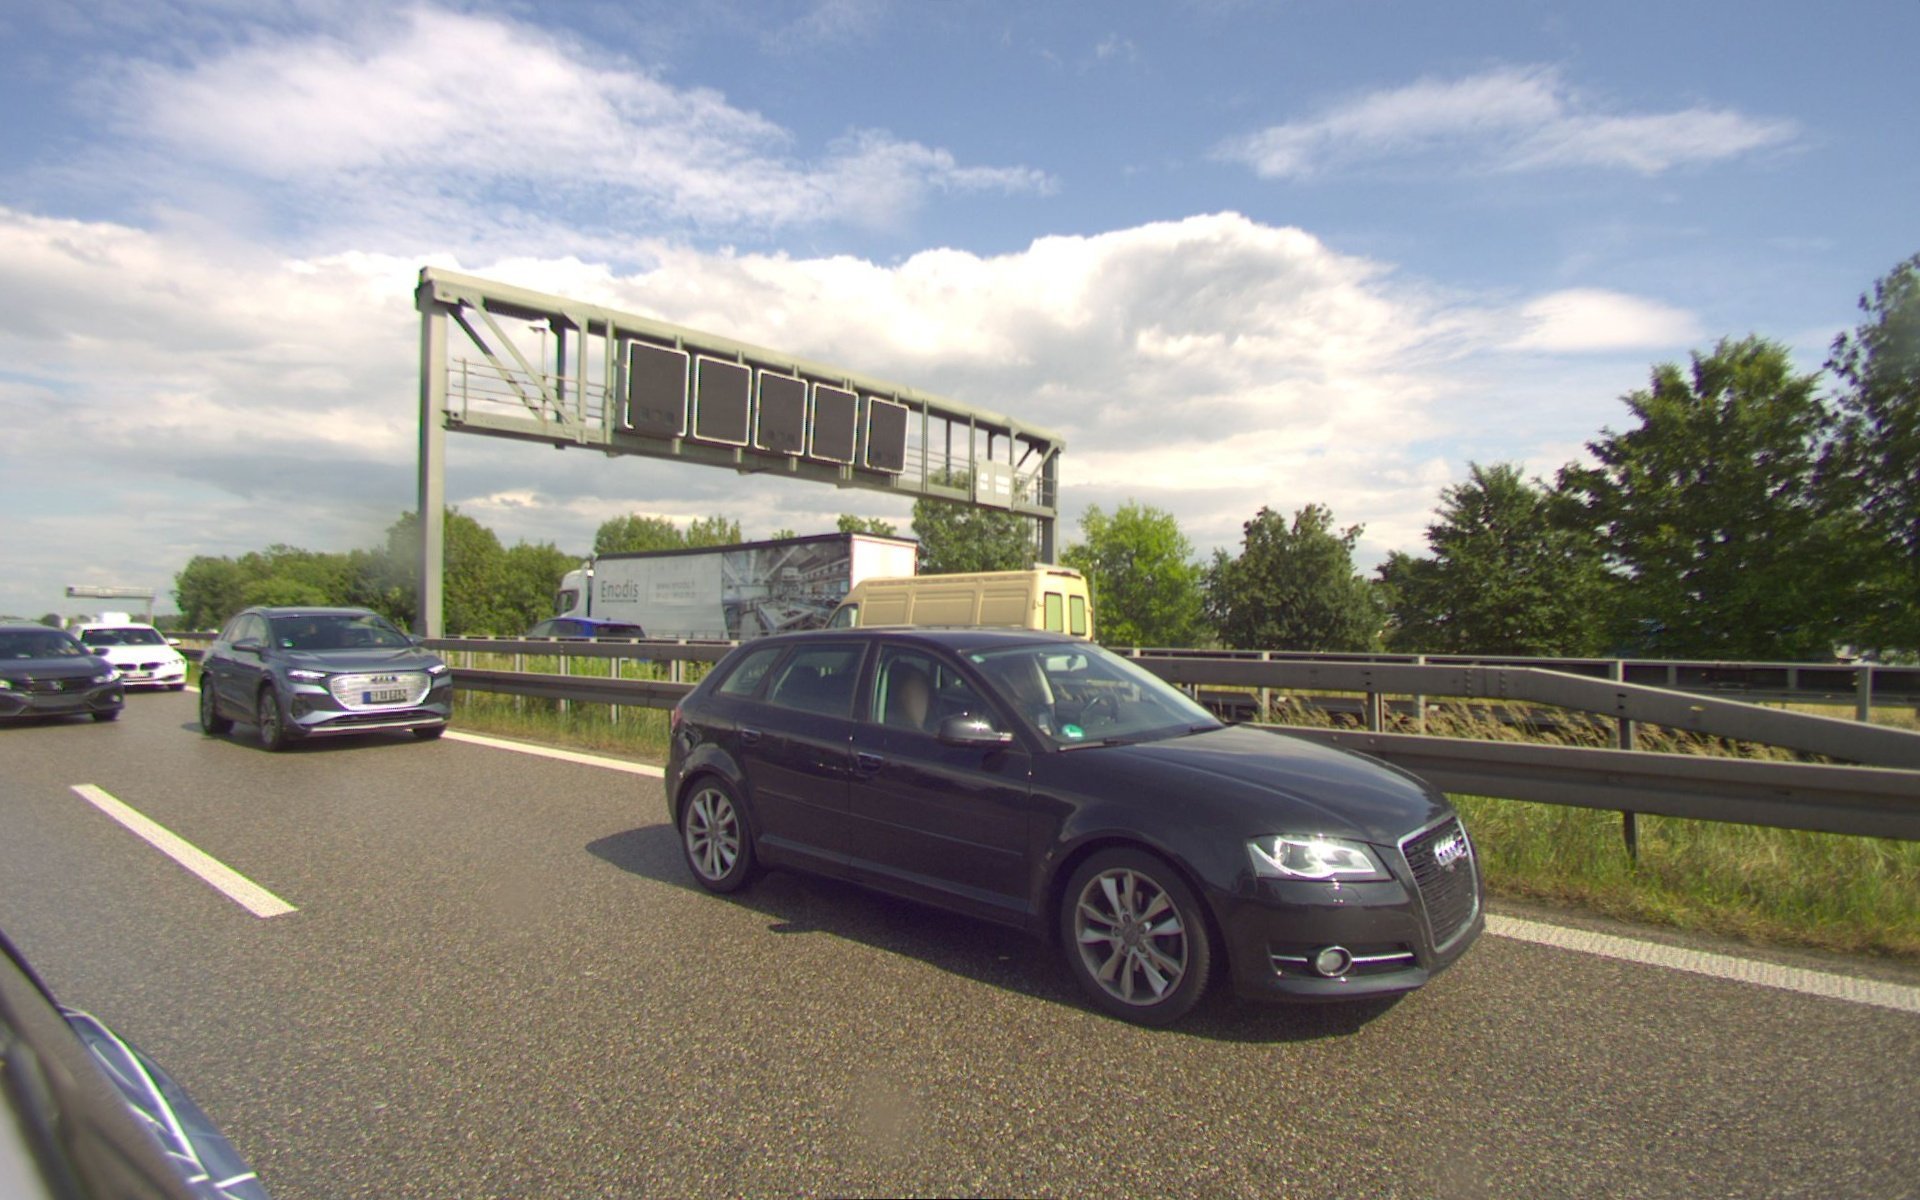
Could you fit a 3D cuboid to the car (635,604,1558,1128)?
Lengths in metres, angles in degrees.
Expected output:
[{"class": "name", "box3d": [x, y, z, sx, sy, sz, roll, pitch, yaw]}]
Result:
[{"class": "car", "box3d": [0.314, 0.766, 4.862, 4.138, 1.436, 1.747, -1, 0, 42]}]

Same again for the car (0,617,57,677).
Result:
[{"class": "car", "box3d": [-30.870, 1.474, 32.745, 3.998, 1.762, 1.973, 0, 1, 41]}]

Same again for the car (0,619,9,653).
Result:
[{"class": "car", "box3d": [-43.947, 1.605, 45.012, 3.998, 1.490, 1.973, 0, 1, 41]}]

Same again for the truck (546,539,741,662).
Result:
[{"class": "truck", "box3d": [-11.270, 0.028, 35.553, 7.874, 3.850, 2.832, 0, -1, 41]}]

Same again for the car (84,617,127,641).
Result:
[{"class": "car", "box3d": [-73.560, 2.479, 87.103, 5.555, 2.029, 1.973, -1, -2, 41]}]

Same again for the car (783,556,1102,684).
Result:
[{"class": "car", "box3d": [-0.605, 0.441, 20.725, 6.976, 2.225, 1.973, -2, -1, 41]}]

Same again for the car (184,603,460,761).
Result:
[{"class": "car", "box3d": [-8.016, 0.881, 12.557, 4.228, 1.618, 1.850, -1, -1, 42]}]

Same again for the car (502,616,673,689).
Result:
[{"class": "car", "box3d": [-8.680, 1.150, 23.440, 4.095, 1.471, 1.973, -1, 0, 41]}]

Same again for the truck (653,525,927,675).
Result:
[{"class": "truck", "box3d": [-5.376, 0.015, 30.416, 9.418, 3.882, 2.819, 0, -1, 41]}]

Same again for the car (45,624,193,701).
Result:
[{"class": "car", "box3d": [-17.637, 1.241, 21.174, 3.998, 1.389, 1.748, 0, -1, 41]}]
